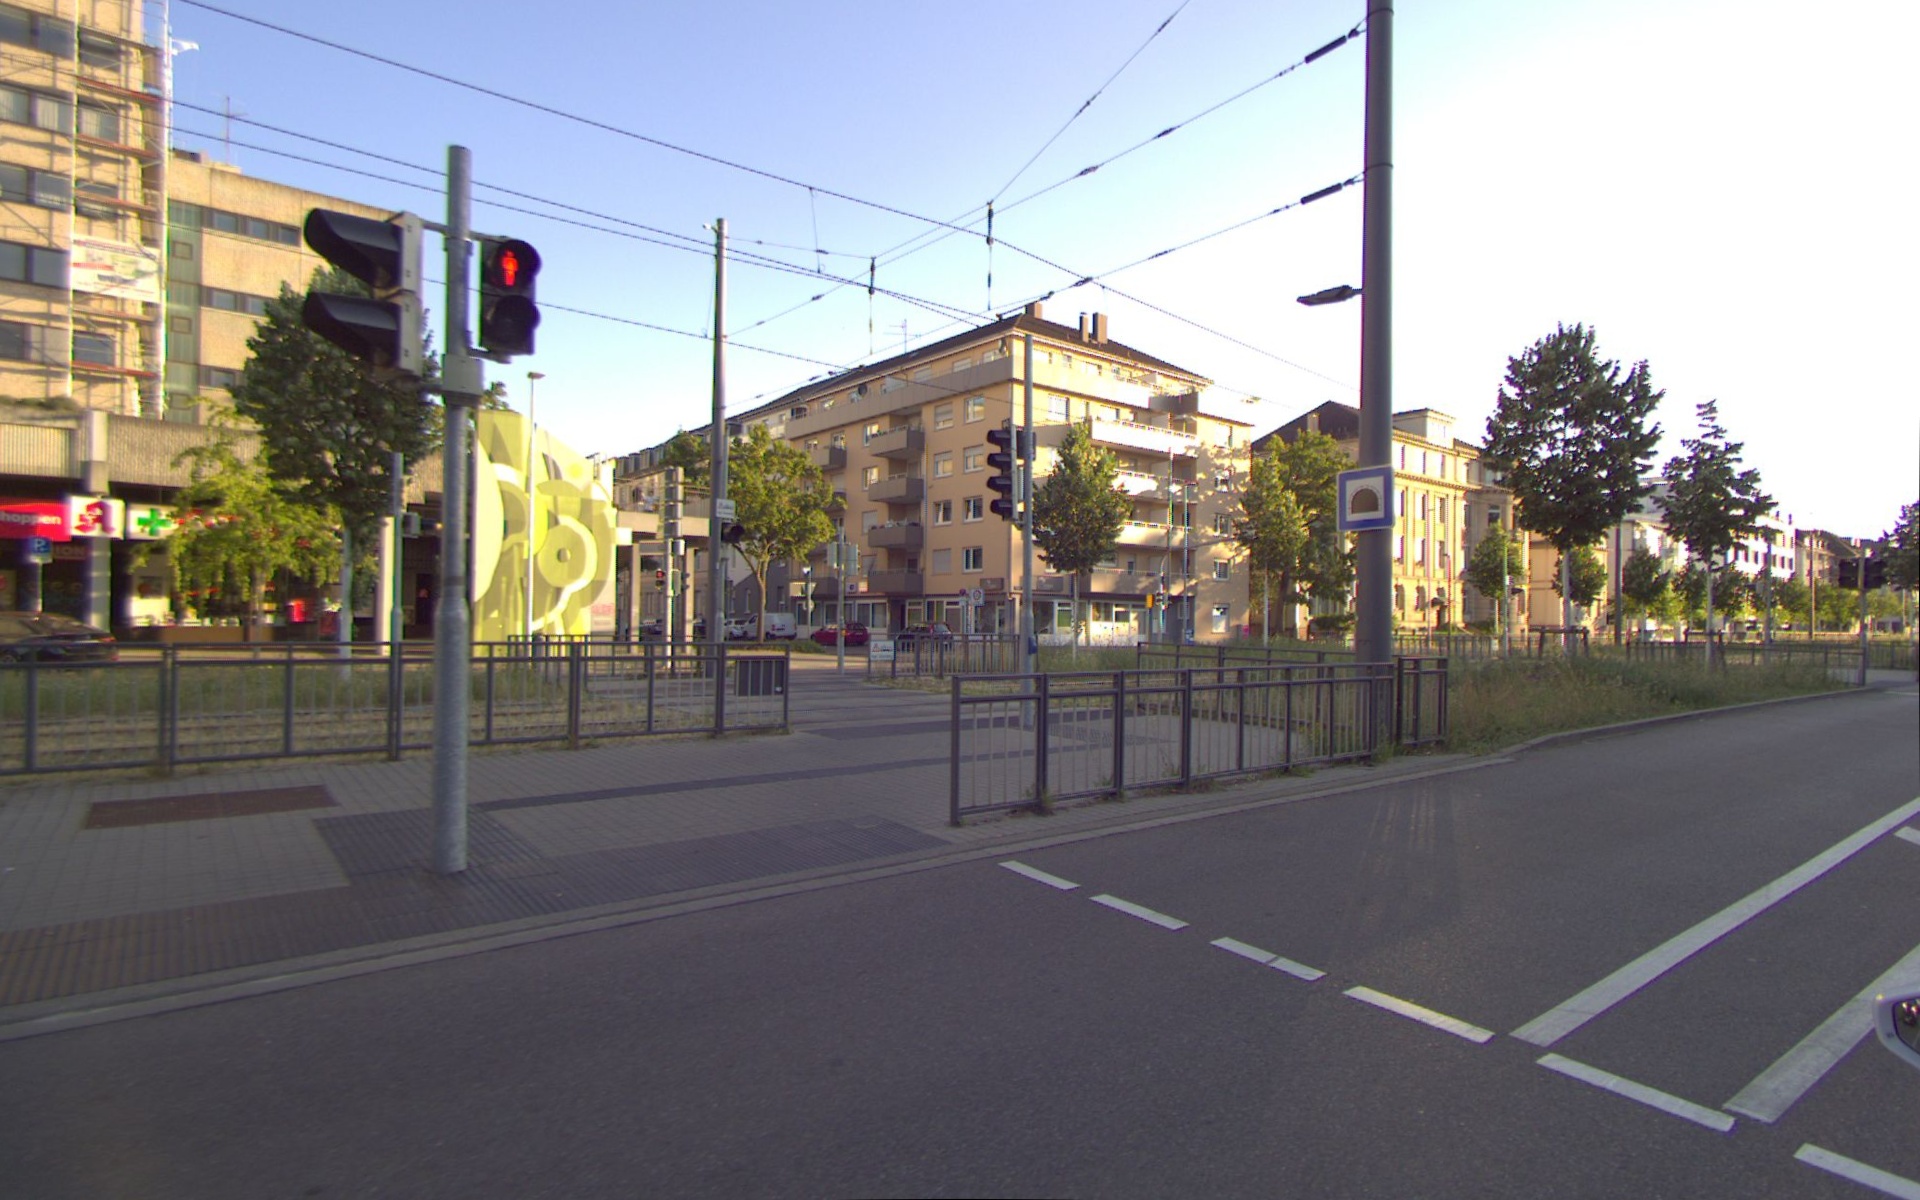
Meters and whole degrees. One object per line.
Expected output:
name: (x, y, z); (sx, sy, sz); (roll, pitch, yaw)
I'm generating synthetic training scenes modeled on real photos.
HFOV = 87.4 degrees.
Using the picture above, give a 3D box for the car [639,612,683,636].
car: (-24.462, 1.997, 82.139); (1.974, 1.809, 3.860); (-2, -2, -41)

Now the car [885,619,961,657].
car: (-1.995, 1.995, 53.365); (2.173, 1.870, 3.902); (2, -1, -39)

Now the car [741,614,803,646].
car: (-12.490, 1.973, 66.560); (2.148, 2.016, 4.451); (2, -1, -39)

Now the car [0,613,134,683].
car: (-21.221, 1.055, 22.916); (3.654, 1.469, 1.745); (1, -1, 12)

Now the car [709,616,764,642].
car: (-15.829, 2.031, 71.050); (2.098, 1.779, 4.294); (2, -1, -39)

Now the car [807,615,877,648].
car: (-7.110, 1.913, 60.135); (2.149, 1.792, 4.293); (0, -3, -40)
